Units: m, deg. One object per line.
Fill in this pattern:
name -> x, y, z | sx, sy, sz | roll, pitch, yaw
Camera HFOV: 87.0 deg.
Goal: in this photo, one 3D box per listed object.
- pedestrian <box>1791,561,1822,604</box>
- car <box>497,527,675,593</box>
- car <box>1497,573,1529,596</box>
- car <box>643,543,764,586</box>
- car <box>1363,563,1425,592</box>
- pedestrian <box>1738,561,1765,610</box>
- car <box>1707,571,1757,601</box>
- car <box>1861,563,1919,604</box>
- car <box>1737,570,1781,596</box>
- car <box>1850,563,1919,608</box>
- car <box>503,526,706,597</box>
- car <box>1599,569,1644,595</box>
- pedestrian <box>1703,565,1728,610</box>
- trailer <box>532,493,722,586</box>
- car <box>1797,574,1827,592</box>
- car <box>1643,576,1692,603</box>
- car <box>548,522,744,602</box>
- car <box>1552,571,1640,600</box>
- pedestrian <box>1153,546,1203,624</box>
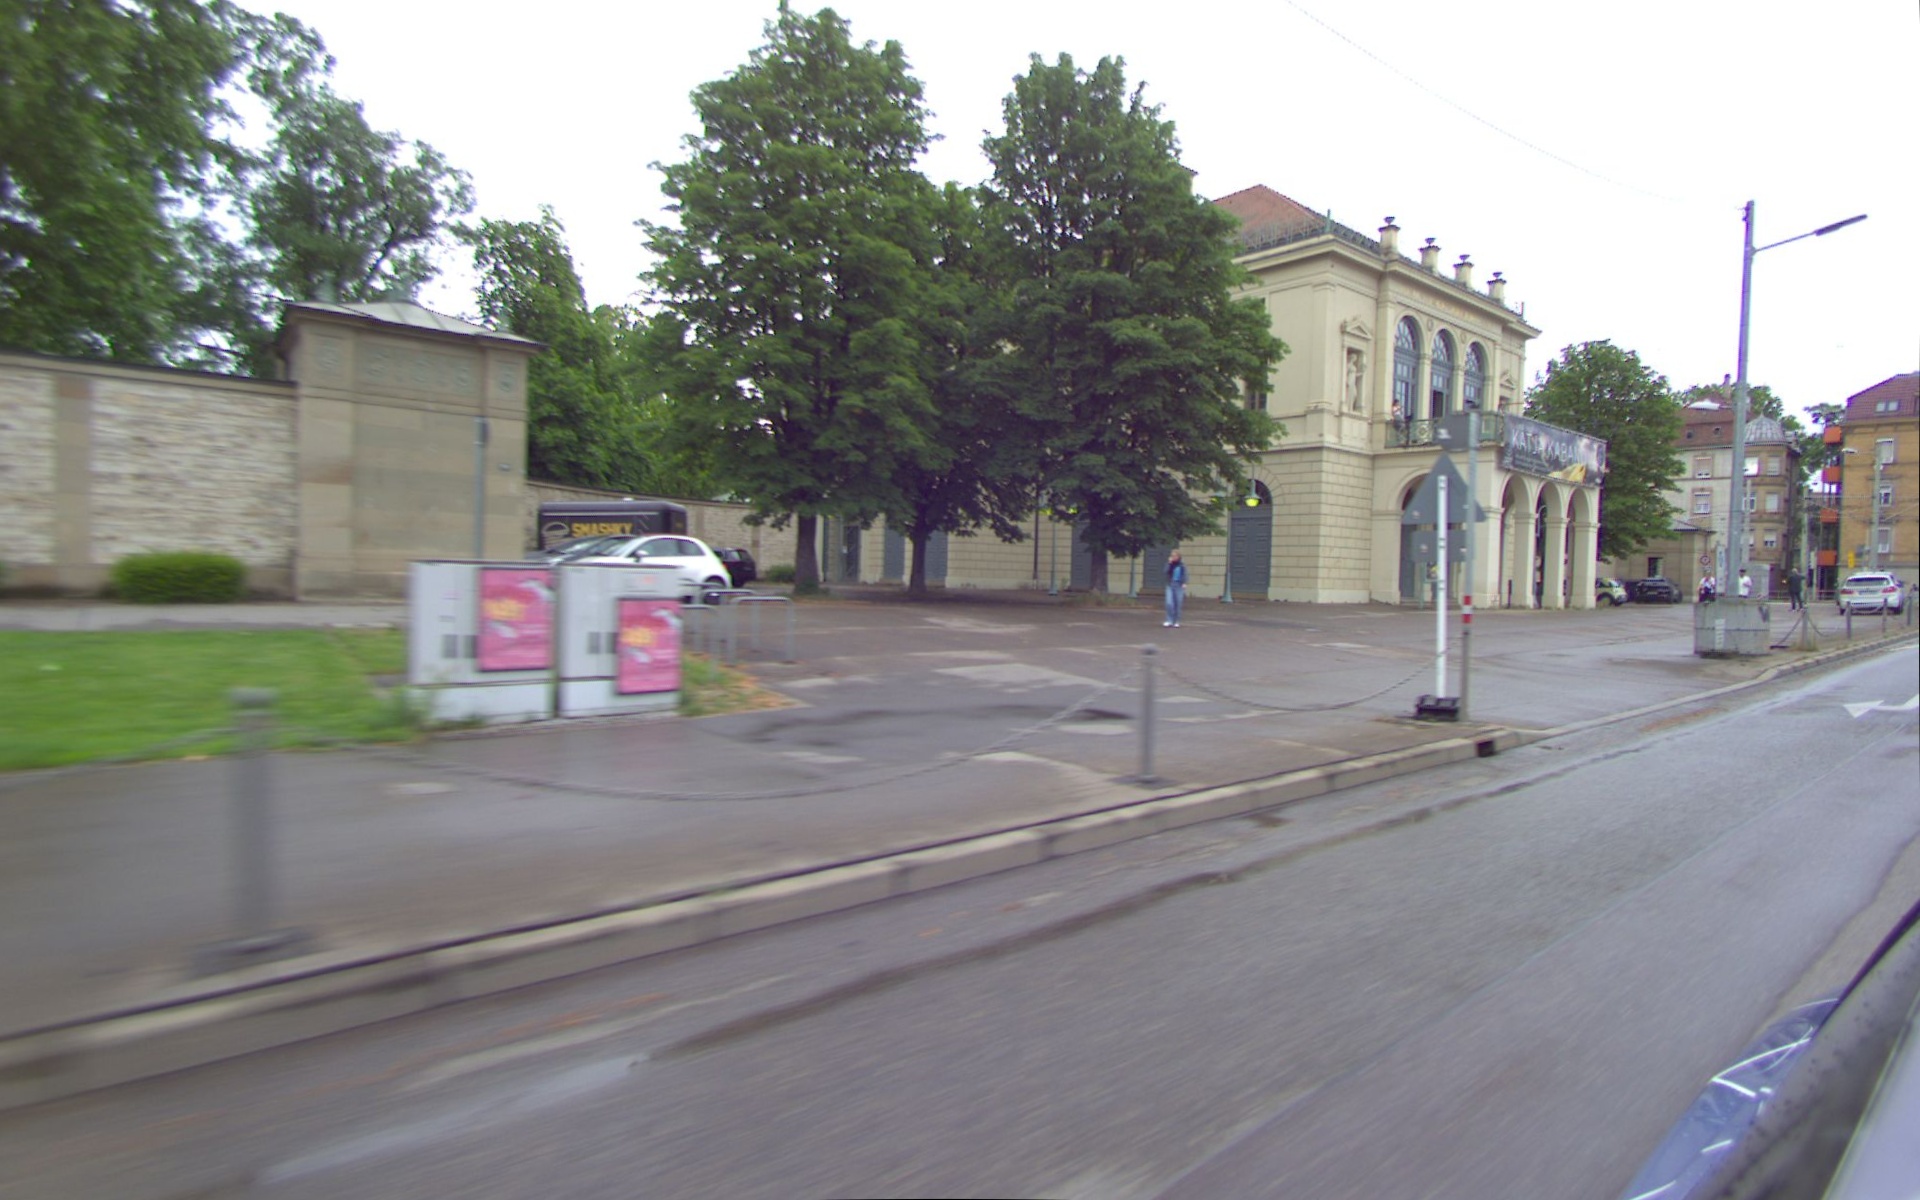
pedestrian -> 36.411, -0.744, 43.526 | 0.768, 1.829, 0.697 | 0, 1, 6
car -> -9.725, -1.037, 26.565 | 4.020, 1.546, 1.779 | 2, 2, -5
car -> 37.120, -1.071, 67.917 | 1.709, 1.460, 3.957 | 2, 3, 31
car -> -9.551, -1.329, 37.665 | 4.234, 1.425, 1.727 | 3, 2, 25
car -> 29.642, -1.556, 69.239 | 1.793, 1.859, 4.009 | 0, 2, -13
pedestrian -> 28.603, -0.533, 36.584 | 0.825, 1.757, 0.595 | -1, 2, -42
car -> 44.429, -0.827, 58.220 | 1.826, 1.602, 3.937 | 3, 3, 44
car -> 40.541, -0.741, 44.166 | 1.714, 1.660, 4.082 | -2, 0, 41
car -> 52.146, -1.142, 66.019 | 1.826, 1.602, 3.937 | 3, 3, 44
car -> 36.452, -0.574, 39.821 | 4.075, 1.660, 1.839 | -1, 0, -45
car -> -8.218, -0.869, 23.692 | 1.891, 1.507, 4.130 | 3, 2, 38
car -> 41.659, -1.149, 63.698 | 1.678, 1.515, 3.938 | 3, 3, 43
pedestrian -> 28.297, -0.487, 37.920 | 0.627, 1.664, 0.768 | 2, 2, 43
trailer -> -10.937, -1.978, 33.503 | 5.549, 2.820, 2.148 | 2, 2, 1
car -> 80.015, -1.589, 95.034 | 1.826, 1.602, 3.937 | 3, 3, 44
car -> 42.636, -0.659, 60.957 | 1.859, 1.567, 4.003 | 1, 2, 43
car -> -6.694, -0.792, 21.694 | 3.533, 1.473, 1.841 | 2, 1, -40
car -> 34.886, -0.837, 55.598 | 1.697, 1.487, 3.745 | -1, 3, -37
pedestrian -> 4.647, -0.340, 21.605 | 0.654, 1.610, 0.868 | 1, 3, -14
